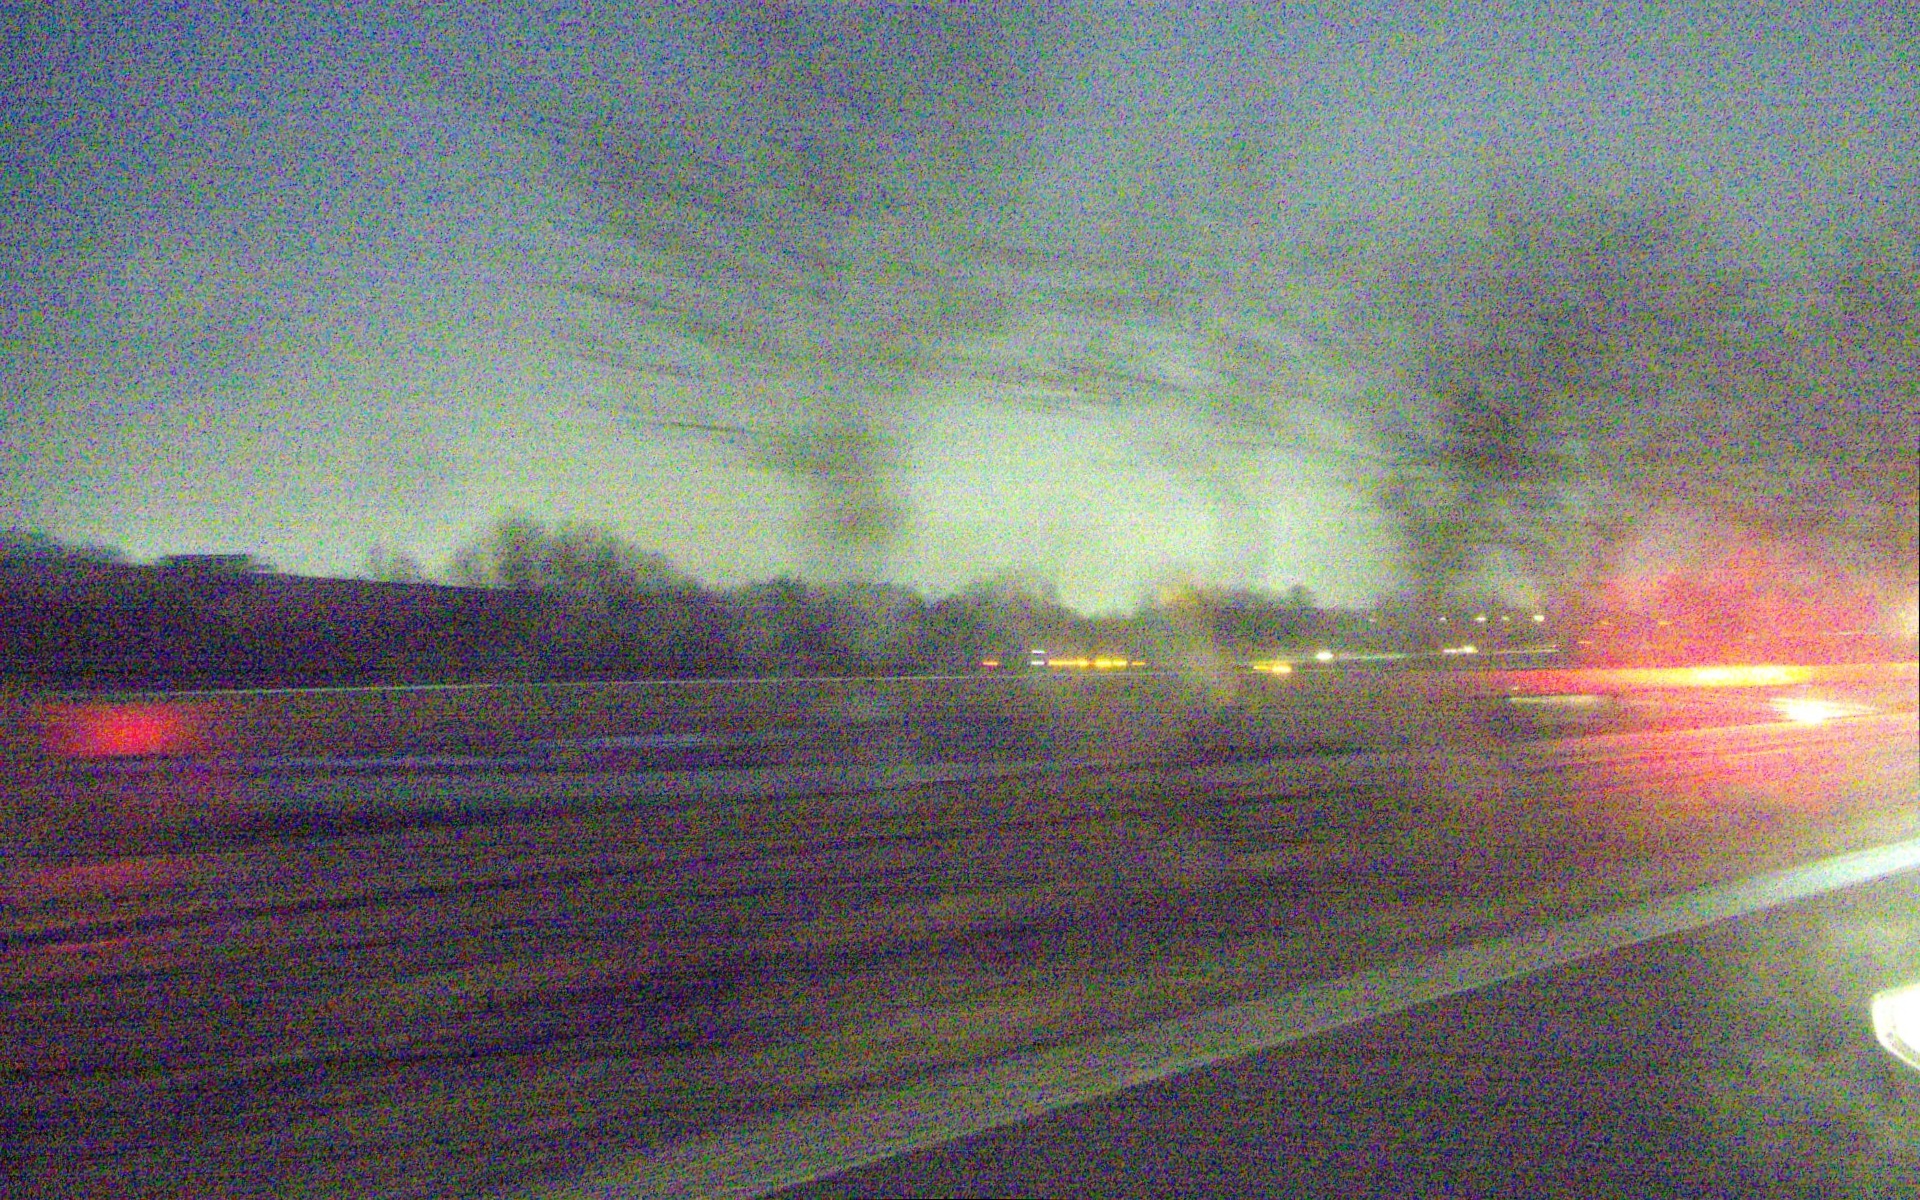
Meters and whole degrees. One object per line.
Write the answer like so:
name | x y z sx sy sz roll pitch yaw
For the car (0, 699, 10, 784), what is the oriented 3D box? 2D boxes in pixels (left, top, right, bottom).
car | -17.832 2.258 15.707 3.864 1.416 1.727 3 -4 -16
